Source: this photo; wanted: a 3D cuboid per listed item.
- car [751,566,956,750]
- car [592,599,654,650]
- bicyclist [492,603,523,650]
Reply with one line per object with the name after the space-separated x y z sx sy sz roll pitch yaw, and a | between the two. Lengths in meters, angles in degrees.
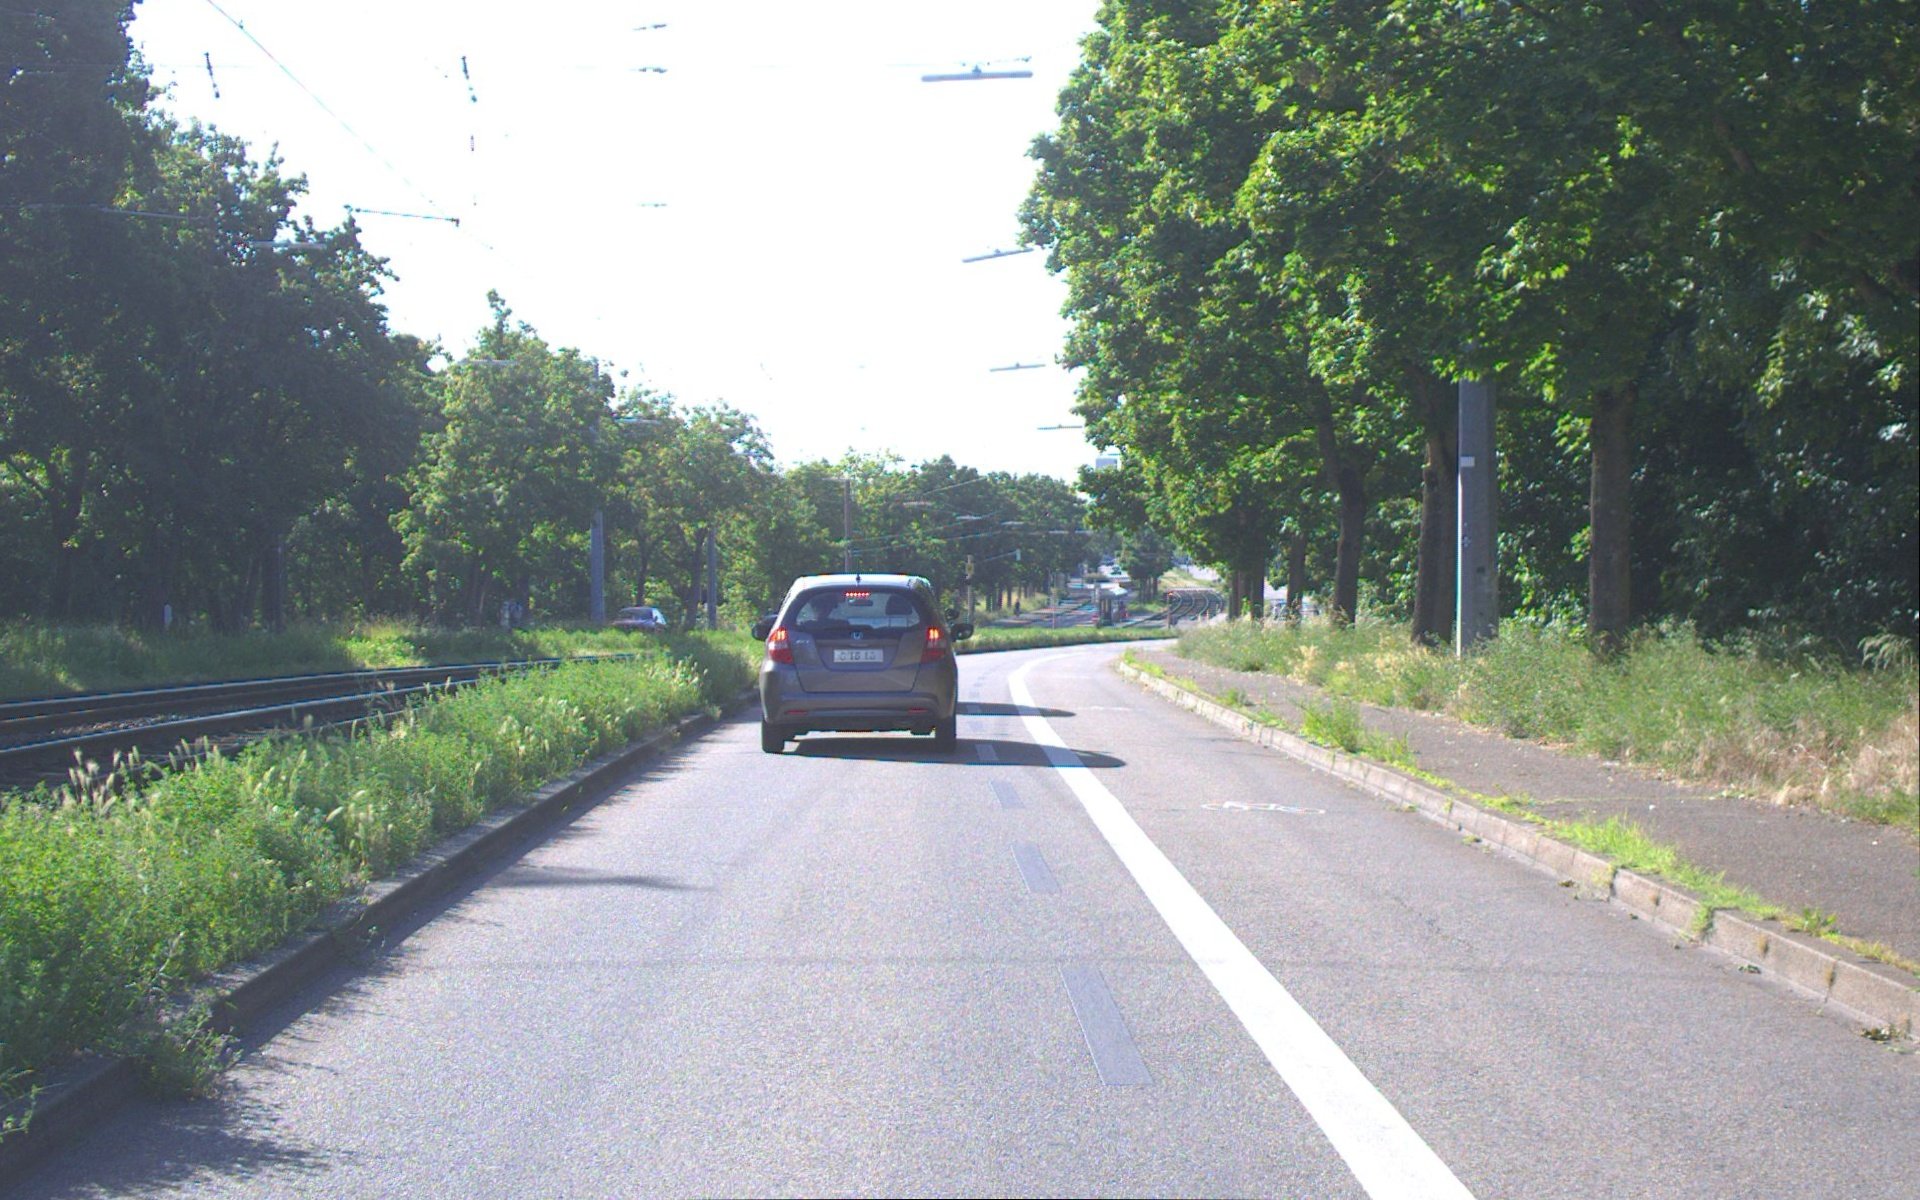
-0.890 0.489 30.526 1.670 1.502 3.811 1 0 0 | car
-13.966 1.009 142.824 1.994 1.869 4.000 1 3 2 | car
-14.768 0.865 112.177 0.790 1.484 1.109 1 2 2 | bicyclist
